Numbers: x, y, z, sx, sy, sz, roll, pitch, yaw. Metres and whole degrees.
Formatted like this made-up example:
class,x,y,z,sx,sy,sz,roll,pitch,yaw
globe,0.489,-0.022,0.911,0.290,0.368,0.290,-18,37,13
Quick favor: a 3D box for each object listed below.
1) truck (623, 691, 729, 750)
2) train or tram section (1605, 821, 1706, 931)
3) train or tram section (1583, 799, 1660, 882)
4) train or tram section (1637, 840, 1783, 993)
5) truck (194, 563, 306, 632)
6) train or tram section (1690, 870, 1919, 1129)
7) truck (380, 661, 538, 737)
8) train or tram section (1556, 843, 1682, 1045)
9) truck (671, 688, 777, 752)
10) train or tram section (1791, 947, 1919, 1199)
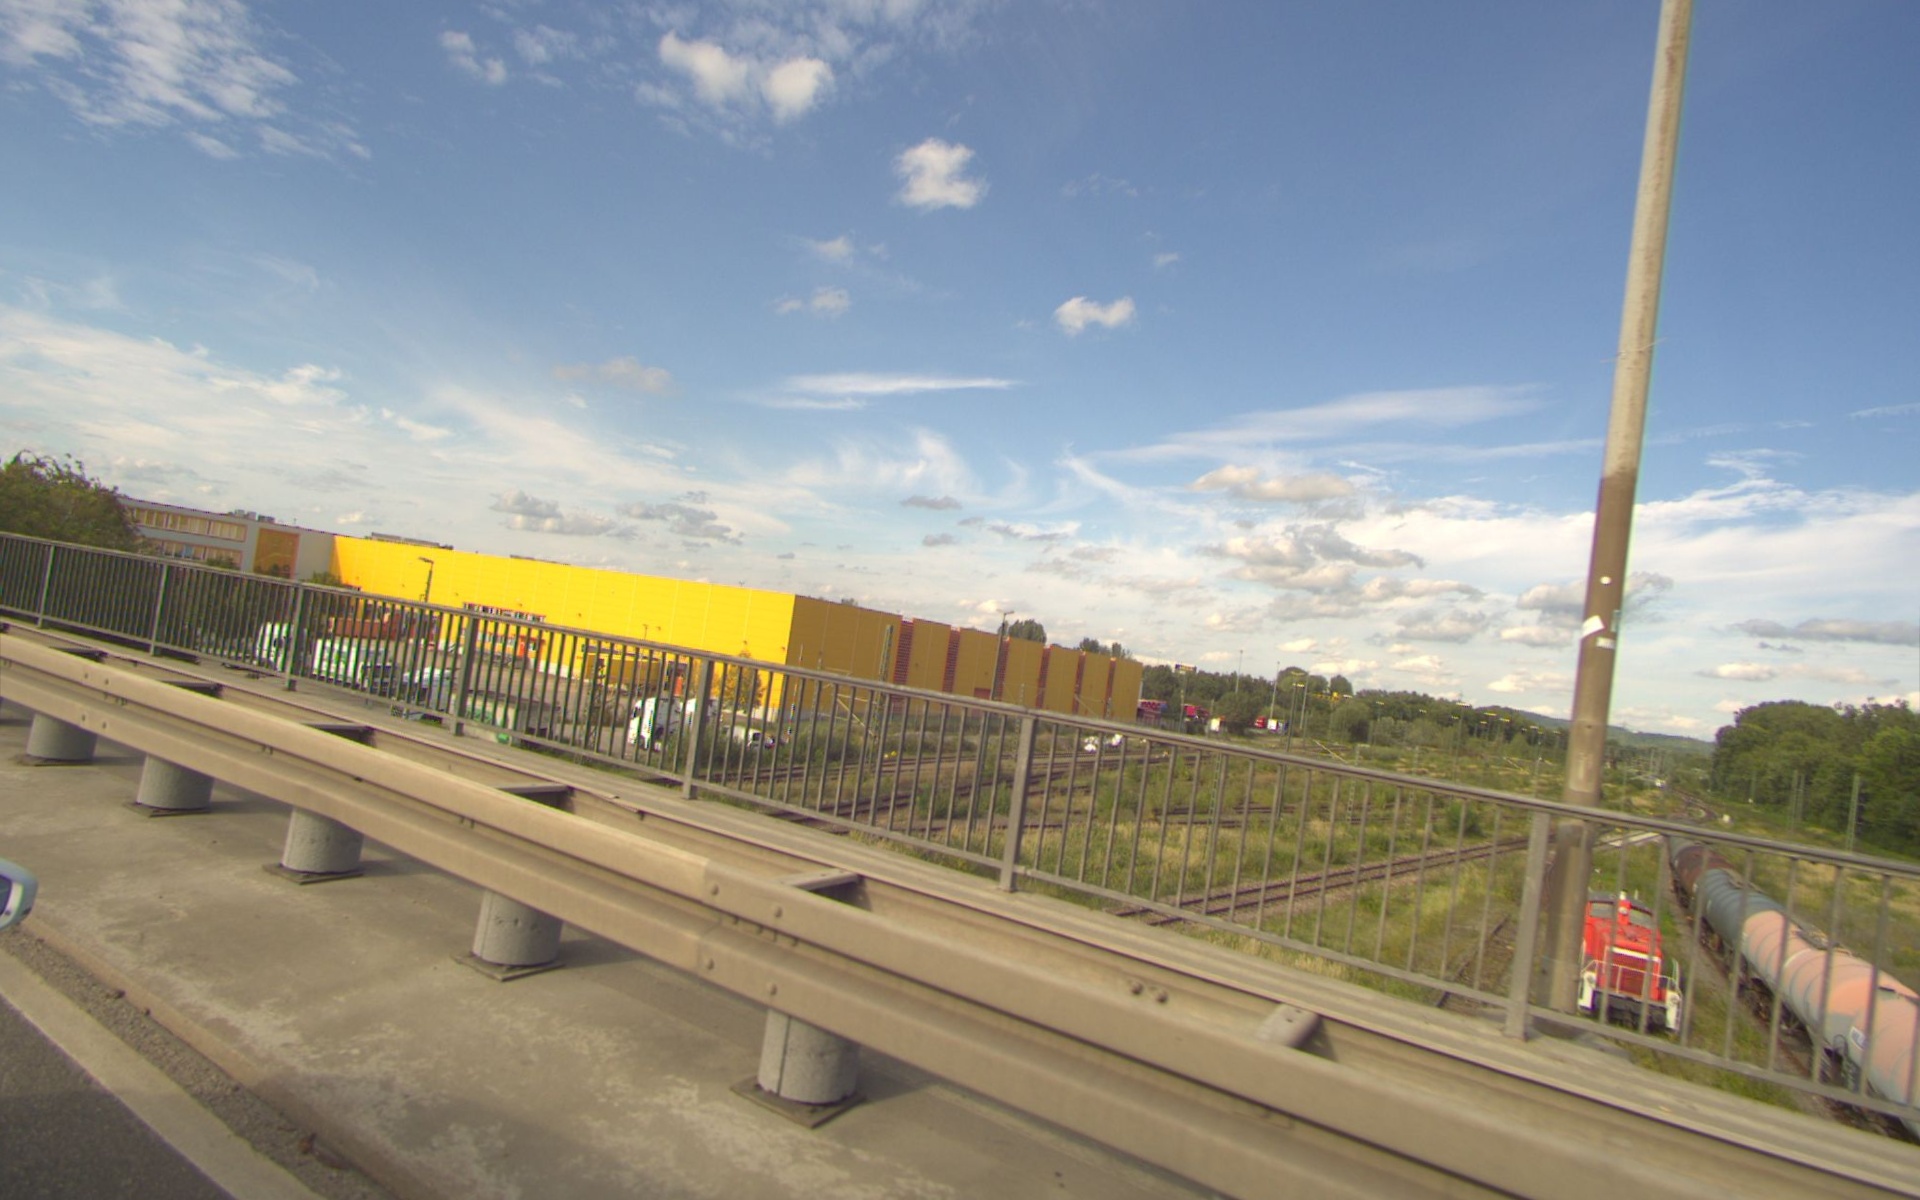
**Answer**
class,x,y,z,sx,sy,sz,roll,pitch,yaw
truck,-20.705,8.744,73.736,2.622,3.661,7.220,9,0,32
train or tram section,46.793,18.274,68.285,3.043,4.762,16.757,7,-4,28
train or tram section,54.367,19.536,83.144,3.043,4.762,16.757,7,-4,28
train or tram section,39.272,16.196,53.465,3.043,4.762,16.757,7,-4,28
truck,-63.646,-0.239,90.089,11.087,4.914,3.636,6,-1,30
train or tram section,31.720,14.274,38.593,3.043,4.766,16.743,6,-2,28
truck,-31.872,6.328,64.412,2.622,4.140,8.604,9,0,32
train or tram section,27.889,13.999,43.354,3.044,4.194,17.279,6,-1,30
truck,-18.414,9.233,78.212,8.470,3.421,2.034,8,1,29
train or tram section,24.042,12.858,23.761,3.043,4.768,16.733,6,-1,28
